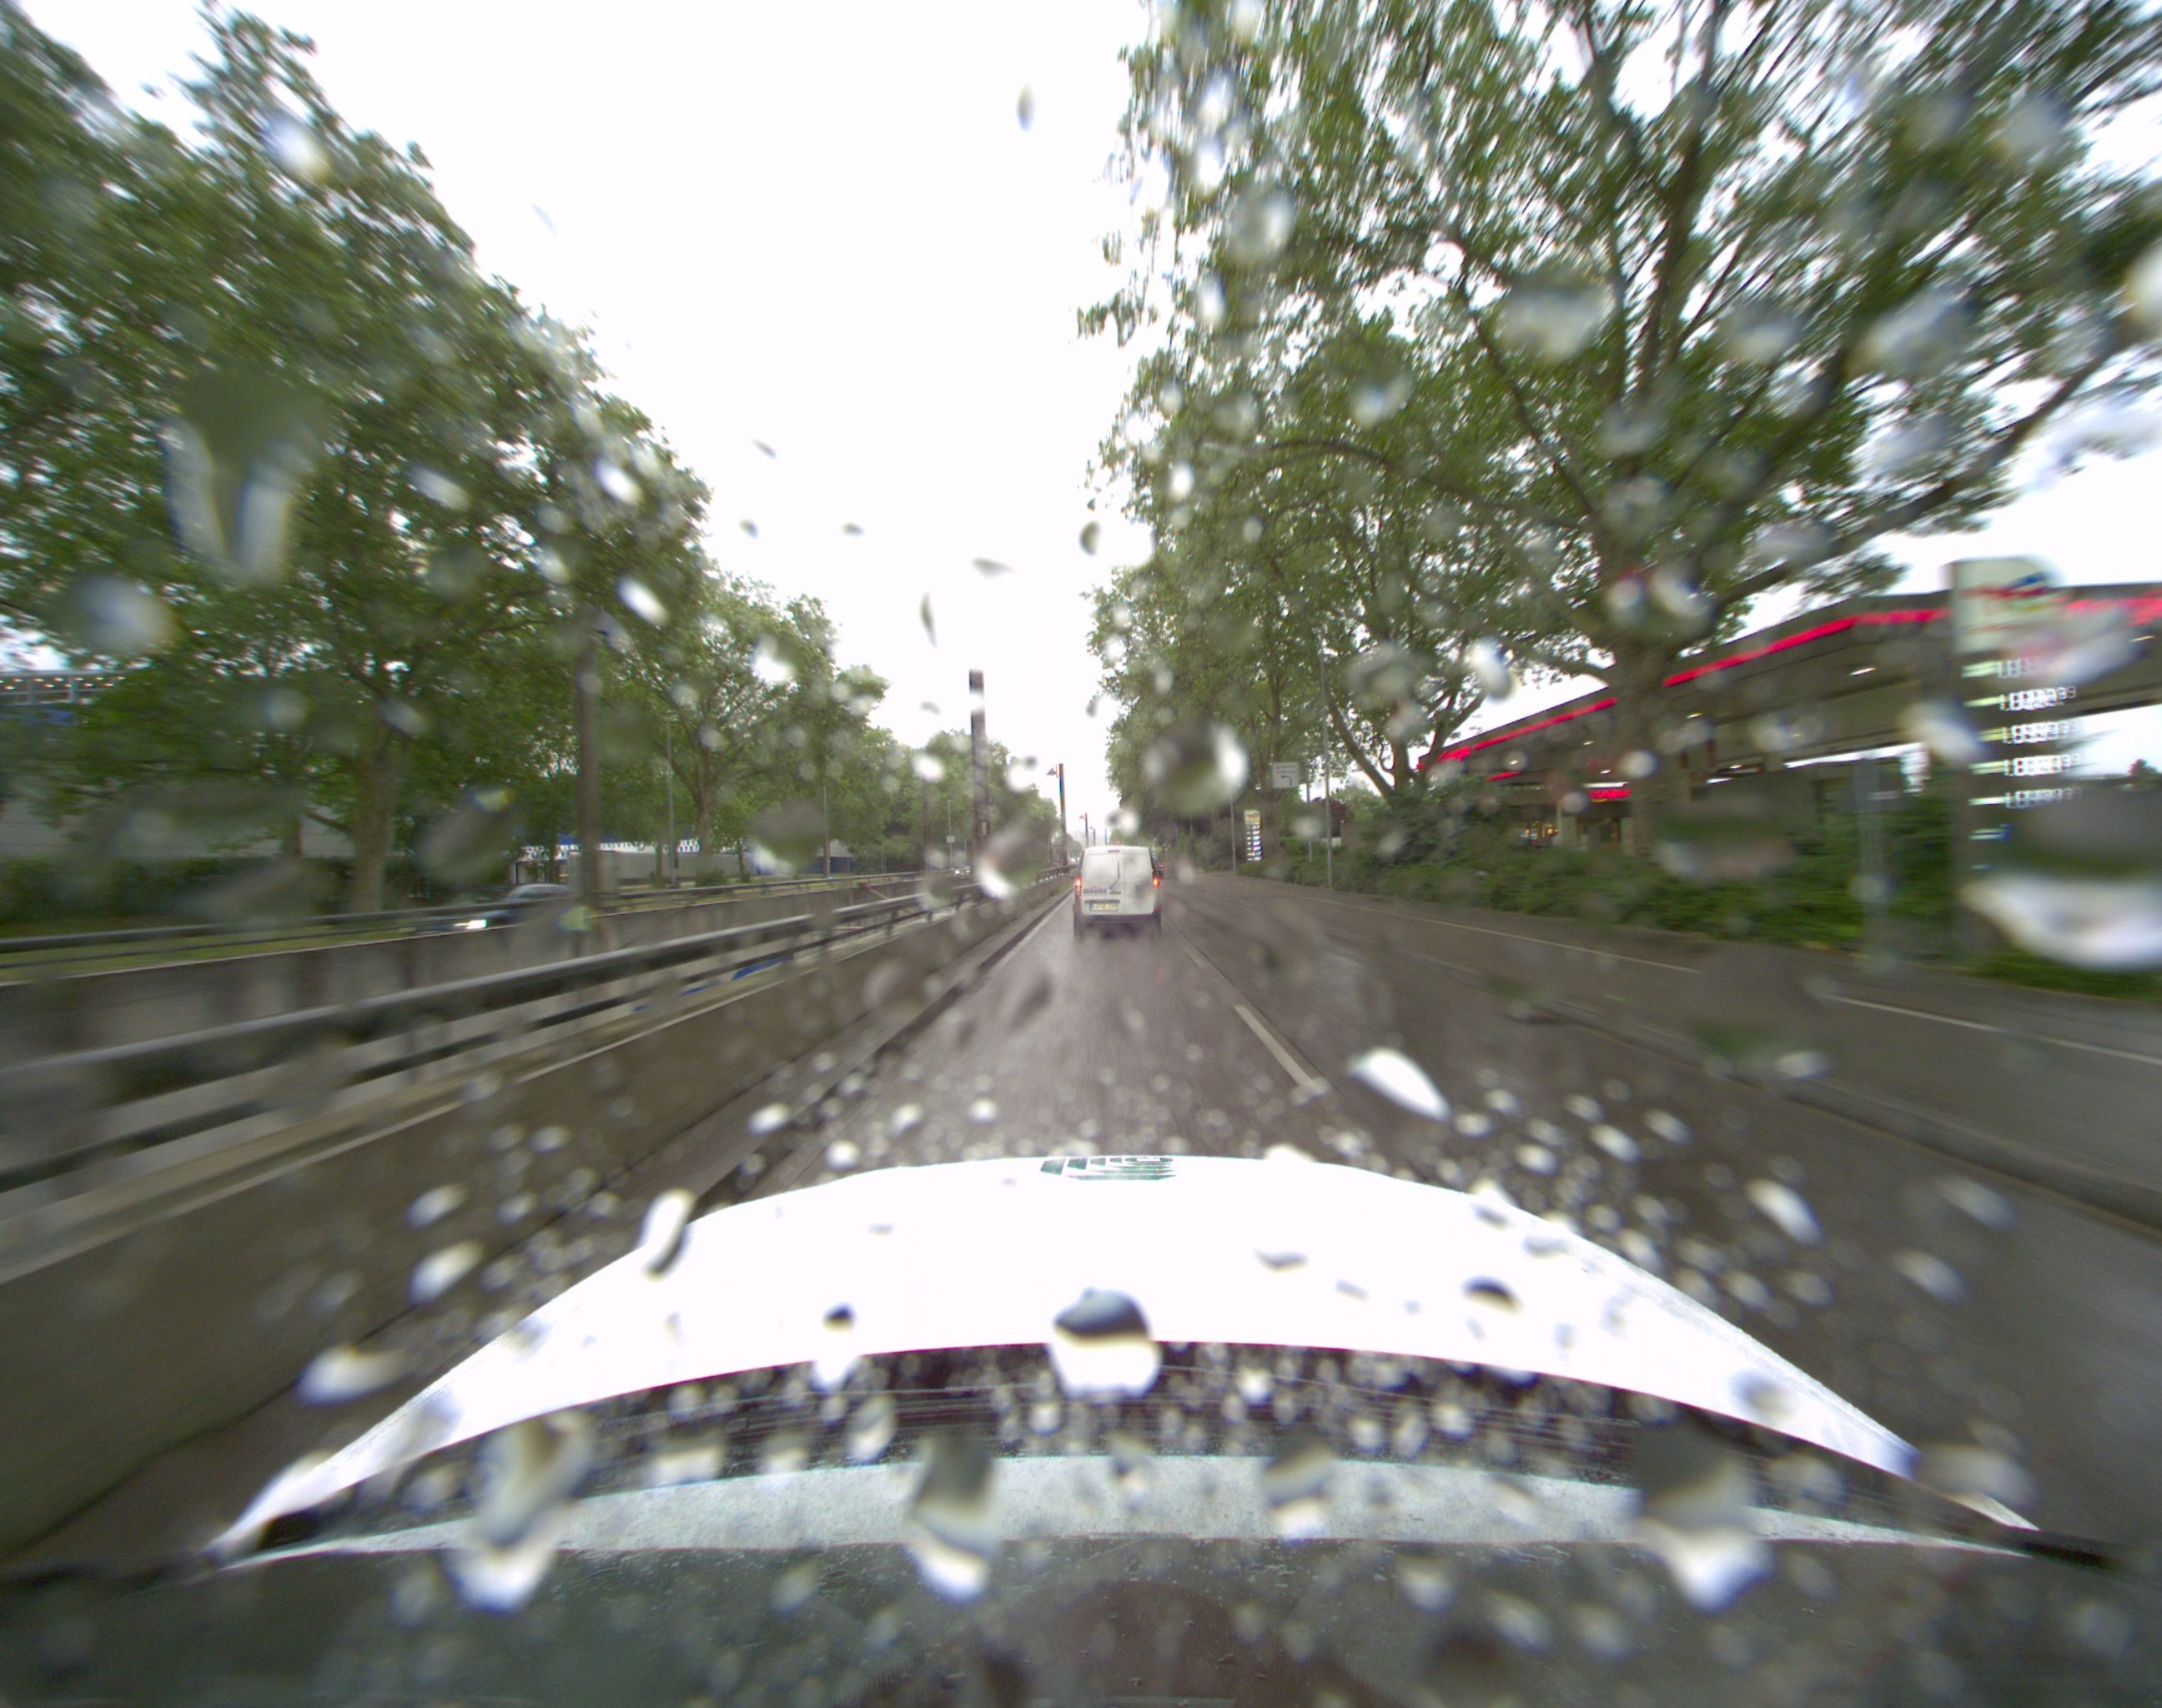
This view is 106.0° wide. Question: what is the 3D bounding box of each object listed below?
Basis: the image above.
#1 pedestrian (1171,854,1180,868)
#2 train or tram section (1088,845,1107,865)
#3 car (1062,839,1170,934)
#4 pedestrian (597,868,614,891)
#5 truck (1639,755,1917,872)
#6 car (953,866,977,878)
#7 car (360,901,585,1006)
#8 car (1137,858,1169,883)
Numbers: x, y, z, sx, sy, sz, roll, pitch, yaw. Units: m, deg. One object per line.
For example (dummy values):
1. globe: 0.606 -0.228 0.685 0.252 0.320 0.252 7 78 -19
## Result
1. pedestrian: 11.272 0.821 97.018 0.963 1.702 1.141 -1 -1 3
2. train or tram section: 3.974 0.322 185.761 3.755 4.036 27.107 0 0 2
3. car: 0.726 0.635 17.441 2.017 1.775 4.276 0 -1 2
4. pedestrian: -42.086 2.223 72.076 0.997 2.014 0.791 0 -1 3
5. truck: 22.718 -1.139 27.320 2.685 3.352 7.769 0 -1 0
6. car: -14.736 2.233 103.506 1.983 1.404 3.801 -2 0 7
7. car: -14.564 2.288 19.897 1.986 2.014 4.512 0 -1 2
8. car: 5.156 1.164 58.592 1.986 1.750 4.001 0 -1 1
